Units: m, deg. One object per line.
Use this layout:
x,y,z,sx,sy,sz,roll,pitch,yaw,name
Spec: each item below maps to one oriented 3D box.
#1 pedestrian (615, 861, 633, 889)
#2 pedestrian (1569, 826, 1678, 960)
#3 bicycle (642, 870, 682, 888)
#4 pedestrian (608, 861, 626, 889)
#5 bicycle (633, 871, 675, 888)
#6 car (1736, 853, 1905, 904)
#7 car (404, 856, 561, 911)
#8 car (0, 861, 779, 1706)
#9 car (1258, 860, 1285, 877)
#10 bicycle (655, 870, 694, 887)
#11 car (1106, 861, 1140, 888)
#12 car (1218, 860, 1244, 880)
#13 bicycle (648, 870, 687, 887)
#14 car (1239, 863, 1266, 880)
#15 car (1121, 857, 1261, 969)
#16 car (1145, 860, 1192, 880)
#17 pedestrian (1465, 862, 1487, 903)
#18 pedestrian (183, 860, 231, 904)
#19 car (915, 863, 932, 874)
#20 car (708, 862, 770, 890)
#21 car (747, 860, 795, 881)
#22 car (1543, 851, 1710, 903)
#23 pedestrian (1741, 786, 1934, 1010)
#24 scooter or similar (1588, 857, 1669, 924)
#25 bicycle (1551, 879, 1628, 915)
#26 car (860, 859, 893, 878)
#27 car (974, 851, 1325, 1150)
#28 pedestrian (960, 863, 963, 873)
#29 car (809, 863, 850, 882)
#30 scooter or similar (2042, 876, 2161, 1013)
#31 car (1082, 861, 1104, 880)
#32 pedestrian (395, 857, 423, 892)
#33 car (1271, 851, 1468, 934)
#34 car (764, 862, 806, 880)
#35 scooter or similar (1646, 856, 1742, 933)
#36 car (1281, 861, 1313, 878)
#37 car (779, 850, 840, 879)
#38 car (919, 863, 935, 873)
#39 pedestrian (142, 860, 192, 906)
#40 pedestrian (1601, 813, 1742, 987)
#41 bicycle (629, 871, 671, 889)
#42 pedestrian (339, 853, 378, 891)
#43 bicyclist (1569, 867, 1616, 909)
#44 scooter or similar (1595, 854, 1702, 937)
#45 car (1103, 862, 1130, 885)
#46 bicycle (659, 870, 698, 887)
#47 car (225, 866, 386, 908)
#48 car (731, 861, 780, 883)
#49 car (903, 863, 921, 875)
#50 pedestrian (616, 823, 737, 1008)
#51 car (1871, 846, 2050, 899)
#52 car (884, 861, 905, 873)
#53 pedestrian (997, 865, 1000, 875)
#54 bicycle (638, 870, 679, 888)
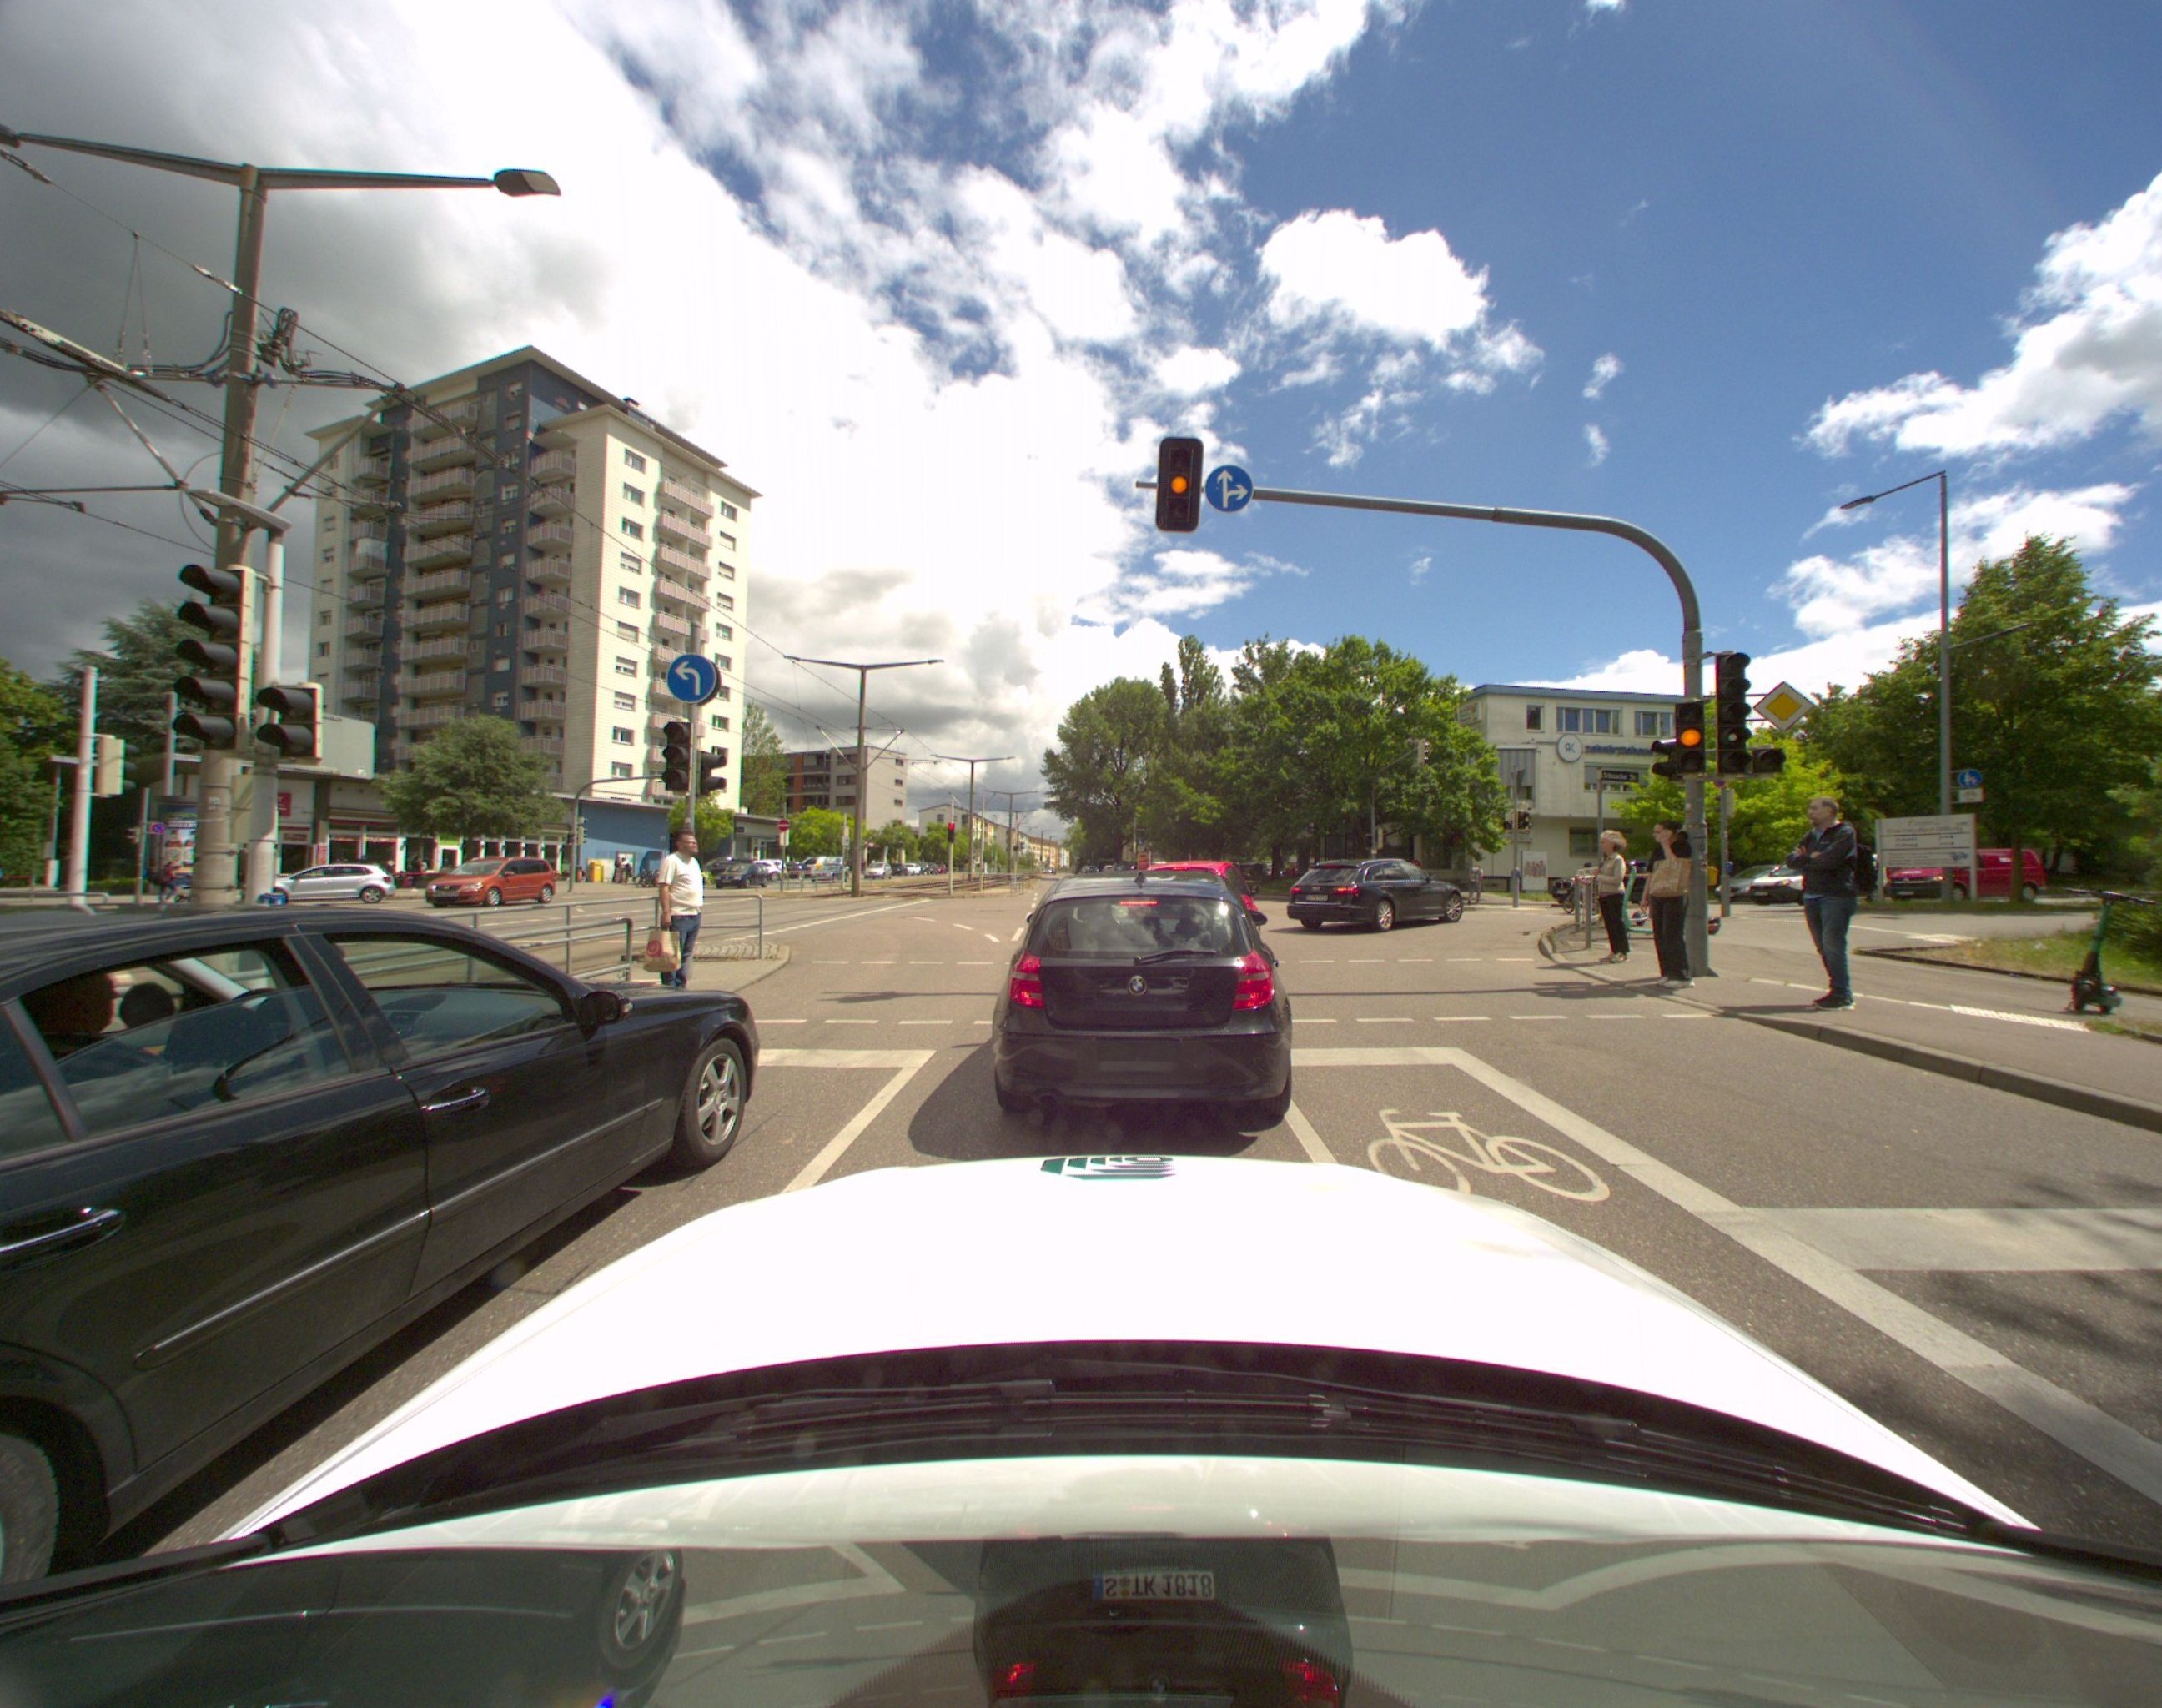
-27.549,1.234,49.095,0.950,1.659,1.088,0,-1,-30,pedestrian
7.087,0.499,10.704,0.945,1.674,0.874,-1,-1,17,pedestrian
-23.256,1.386,45.241,1.943,0.935,0.494,0,-1,-5,bicycle
-28.462,1.297,49.941,0.950,1.659,1.088,0,-1,-30,pedestrian
-23.200,1.377,44.250,1.943,0.935,0.494,0,-1,-5,bicycle
26.307,0.830,29.045,4.555,1.717,1.995,0,0,-8,car
-19.565,0.898,26.912,1.989,1.635,4.456,-2,0,-3,car
-2.711,0.765,2.494,1.721,1.461,4.546,0,0,2,car
18.340,1.407,78.700,1.626,1.595,3.998,0,0,-1,car
-23.104,1.394,46.330,1.943,0.935,0.494,0,-1,-5,bicycle
2.775,1.350,54.292,2.144,1.684,4.001,0,-1,2,car
14.073,1.511,76.605,1.626,1.811,4.030,0,0,-1,car
-23.241,1.391,45.787,1.943,0.935,0.494,0,-1,-5,bicycle
16.299,1.635,77.468,1.626,1.573,4.030,0,0,-1,car
1.768,0.770,12.298,1.529,1.441,3.211,0,0,18,car
8.136,1.503,75.682,4.001,1.823,1.766,0,0,-21,car
15.901,1.130,32.775,0.761,1.643,0.913,0,-1,29,pedestrian
-33.212,1.047,30.953,0.957,1.659,1.002,-1,-1,28,pedestrian
-20.960,1.930,108.281,1.758,1.395,3.993,0,0,-5,car
-19.469,1.224,46.550,1.624,1.414,4.254,-1,1,1,car
-24.585,1.282,64.515,4.165,1.538,1.973,0,0,45,car
18.625,0.752,27.926,4.551,1.717,1.996,0,0,-5,car
6.953,0.382,7.541,0.963,1.942,0.896,0,0,-3,pedestrian
9.883,0.659,14.696,1.360,1.156,0.540,1,0,-23,scooter or similar
12.815,1.060,20.592,0.789,0.819,1.807,0,0,-1,bicycle
-18.709,1.337,74.557,1.930,1.693,3.874,0,0,2,car
0.410,0.727,6.068,1.746,1.487,4.002,0,0,2,car
-20.907,2.417,141.948,0.452,1.637,0.480,0,-1,-3,pedestrian
-18.606,1.352,60.337,1.629,1.399,4.492,0,-1,0,car
10.622,0.926,8.469,1.247,1.275,0.709,6,-1,-38,scooter or similar
1.190,1.560,77.202,1.986,1.684,4.002,0,0,2,car
-31.619,0.960,38.327,0.767,1.615,0.695,0,-1,-12,pedestrian
6.270,0.729,17.454,4.544,1.554,1.976,0,-1,-40,car
-24.542,1.357,67.437,1.800,1.420,4.166,0,0,-43,car
10.364,0.678,13.781,1.225,1.240,0.555,2,0,-7,scooter or similar
20.950,1.517,79.018,1.728,1.595,3.992,0,0,-5,car
-24.326,0.915,72.724,2.848,2.478,6.642,0,0,-41,car
-21.296,1.955,112.859,1.758,1.395,3.993,0,0,-5,car
-33.613,1.041,29.965,0.957,1.659,1.002,-1,-1,28,pedestrian
6.338,0.463,8.776,0.933,1.765,0.770,-1,0,-10,pedestrian
-23.175,1.372,43.759,1.943,0.935,0.494,0,-1,-5,bicycle
-37.055,0.915,41.772,0.861,1.917,1.215,0,0,2,pedestrian
12.816,0.838,20.429,0.789,1.022,0.635,0,-1,-2,bicyclist
8.975,0.647,12.911,1.336,1.277,0.463,0,1,8,scooter or similar
2.708,1.443,61.747,1.986,1.684,4.001,0,-1,2,car
-23.127,1.399,46.810,1.943,0.935,0.494,0,-1,-5,bicycle
-27.234,1.126,28.804,4.021,1.398,1.678,1,-2,-41,car
-24.454,1.354,61.132,4.165,1.570,1.973,0,0,45,car
-21.084,1.846,101.701,1.758,1.395,3.993,0,0,-5,car
-4.119,0.601,8.342,0.866,1.808,0.741,0,0,-2,pedestrian
31.890,0.671,29.600,4.800,1.864,1.995,0,-2,-8,car
-21.563,1.488,94.287,1.758,1.395,3.993,0,0,-5,car
-13.165,2.564,129.720,0.477,1.637,0.454,0,-1,1,pedestrian
-23.223,1.381,44.756,1.943,0.935,0.494,0,-1,-5,bicycle
